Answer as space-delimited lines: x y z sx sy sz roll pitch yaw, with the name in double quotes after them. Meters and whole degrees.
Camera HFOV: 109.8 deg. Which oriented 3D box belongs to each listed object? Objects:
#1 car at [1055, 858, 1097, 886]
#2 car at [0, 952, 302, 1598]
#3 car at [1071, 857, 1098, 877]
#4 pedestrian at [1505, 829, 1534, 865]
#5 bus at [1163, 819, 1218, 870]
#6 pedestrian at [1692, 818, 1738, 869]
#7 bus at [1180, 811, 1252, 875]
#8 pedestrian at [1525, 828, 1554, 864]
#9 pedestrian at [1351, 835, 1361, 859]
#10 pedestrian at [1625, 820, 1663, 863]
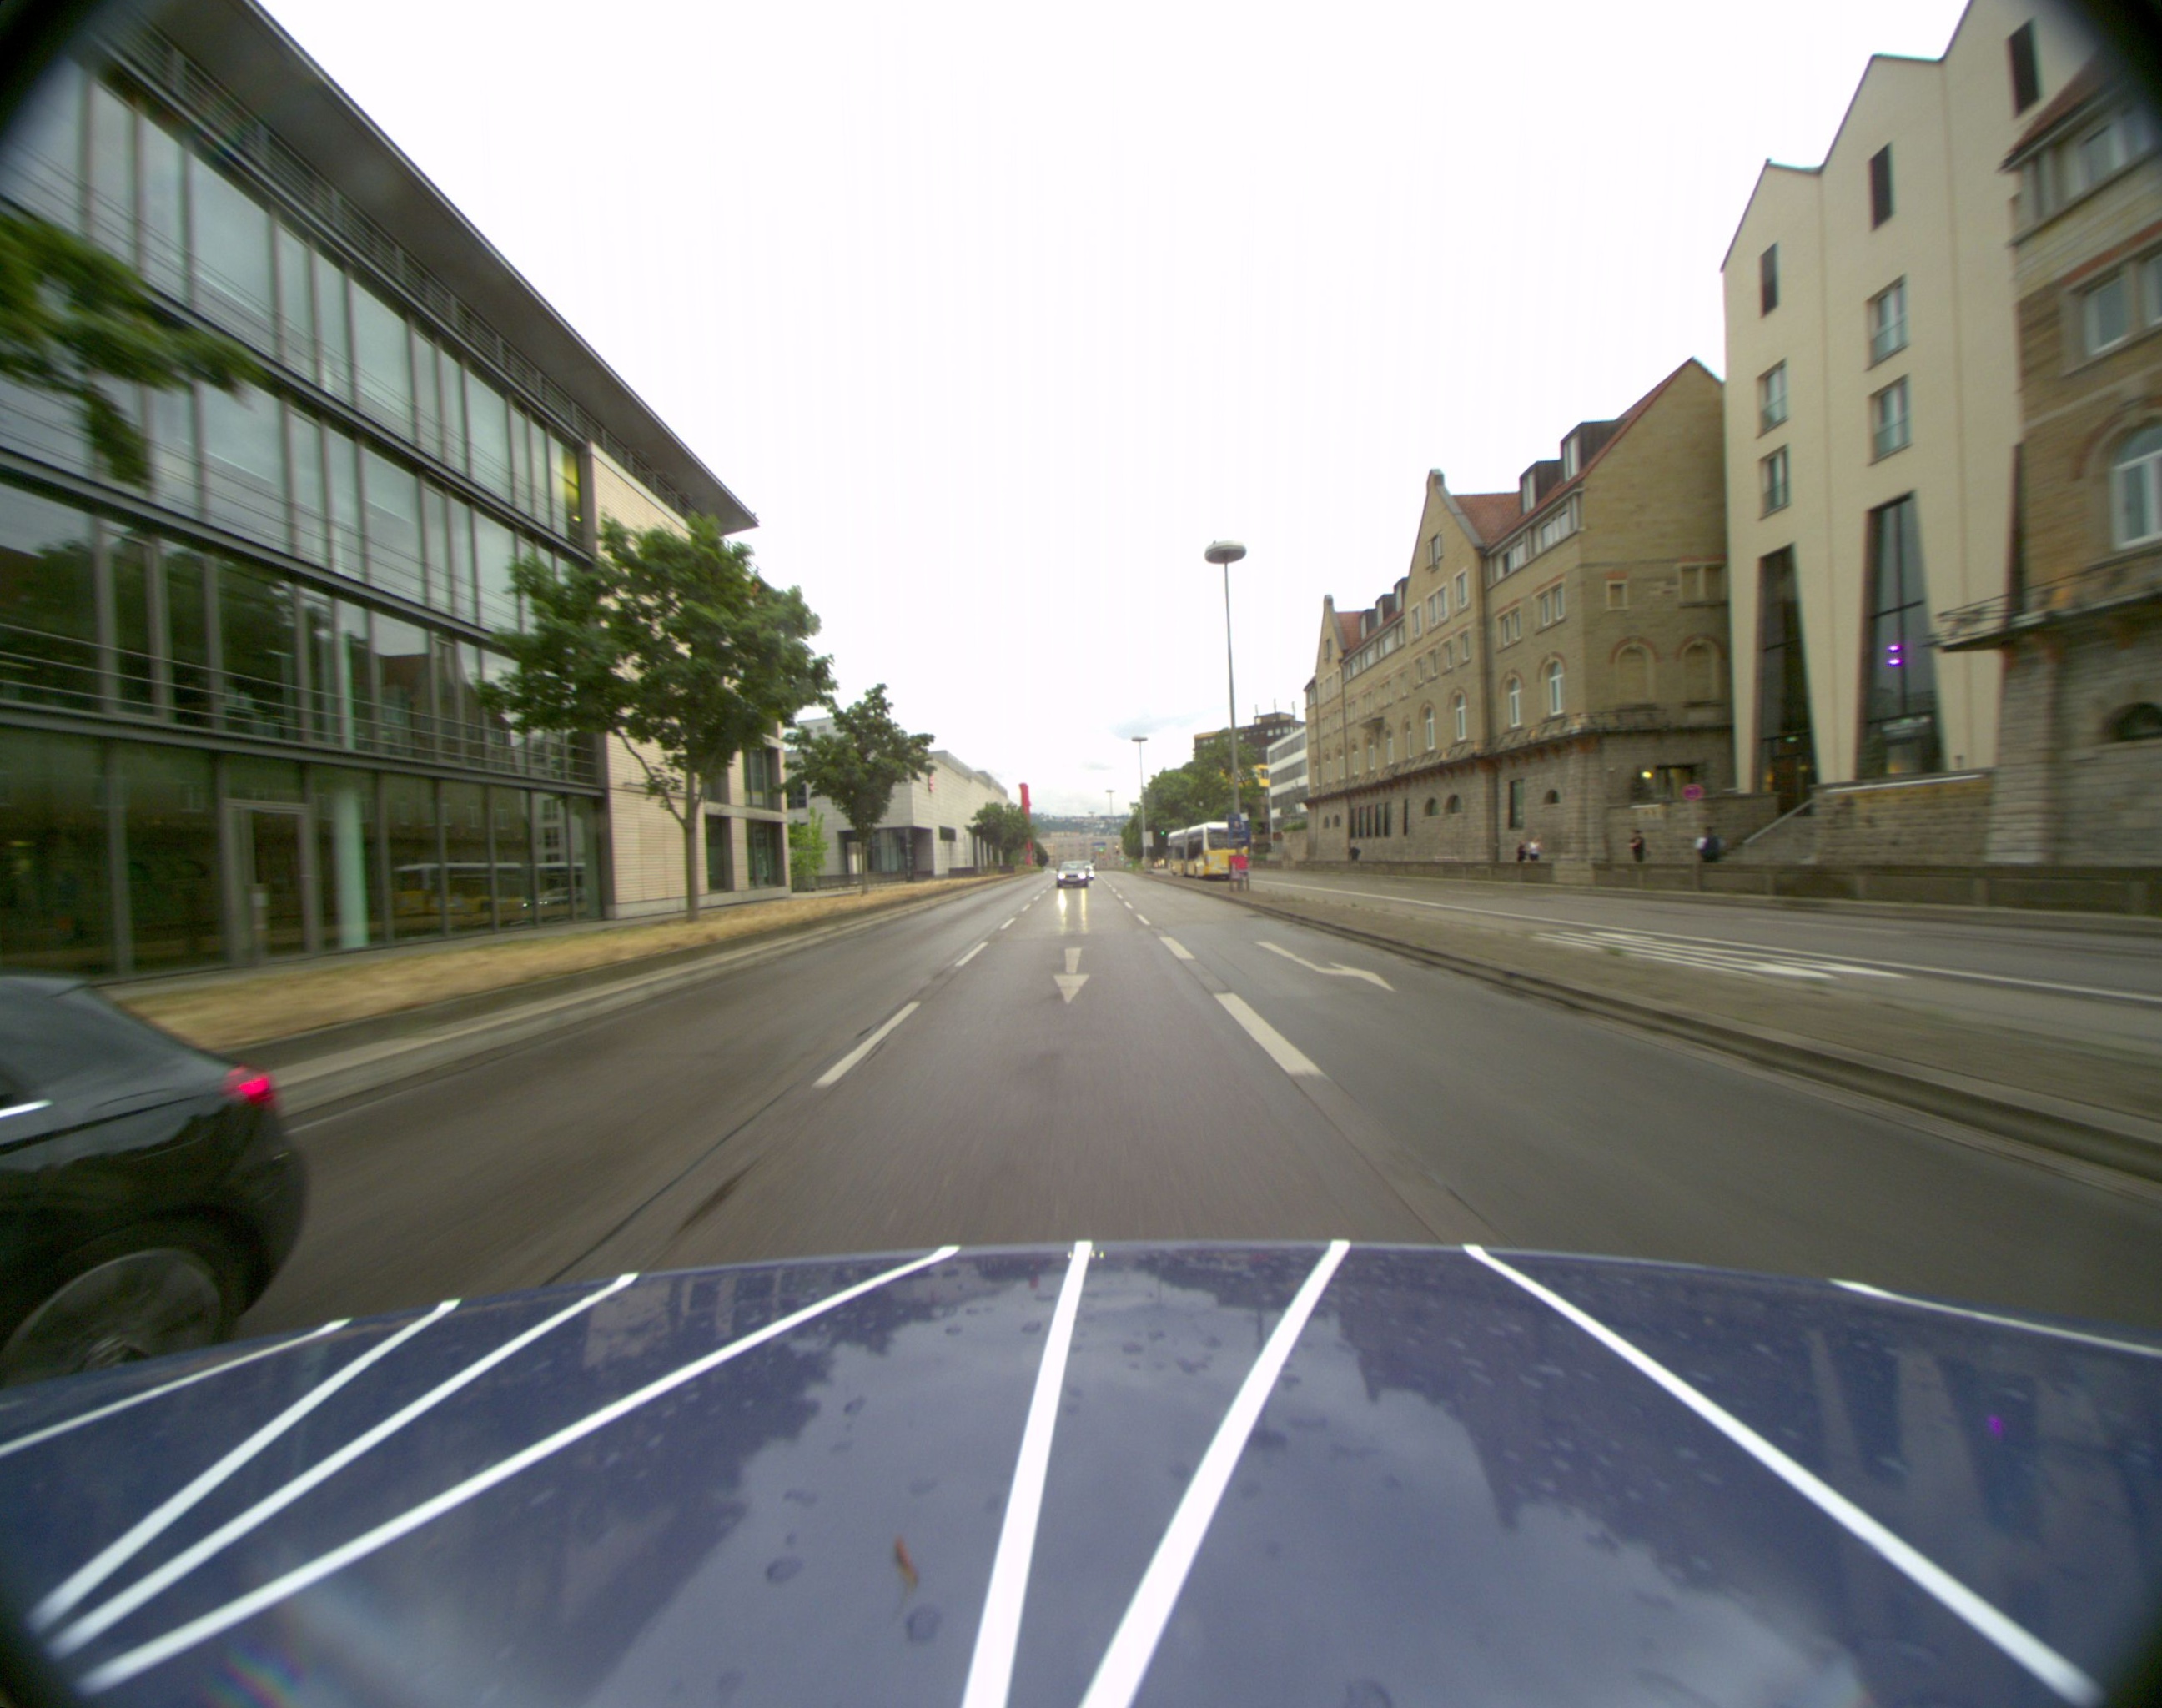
-0.232 0.962 42.569 1.862 1.428 4.207 -2 0 6 "car"
-3.488 1.064 0.354 1.877 1.428 4.205 -2 0 0 "car"
0.295 0.959 57.499 1.863 1.449 4.205 -2 0 1 "car"
18.293 -0.275 31.687 0.756 1.469 0.714 -1 -1 0 "pedestrian"
8.241 -0.711 58.517 2.705 3.538 10.092 -1 0 0 "bus"
19.033 -0.305 22.827 0.755 1.469 0.714 -1 -1 5 "pedestrian"
8.303 -0.642 48.185 2.705 3.538 10.092 -1 0 0 "bus"
19.121 -0.317 31.695 0.756 1.469 0.714 -1 -1 0 "pedestrian"
19.769 -0.494 54.625 0.641 1.735 0.622 -1 -1 18 "pedestrian"
20.102 -0.440 27.139 0.756 1.469 0.714 -1 -1 0 "pedestrian"
